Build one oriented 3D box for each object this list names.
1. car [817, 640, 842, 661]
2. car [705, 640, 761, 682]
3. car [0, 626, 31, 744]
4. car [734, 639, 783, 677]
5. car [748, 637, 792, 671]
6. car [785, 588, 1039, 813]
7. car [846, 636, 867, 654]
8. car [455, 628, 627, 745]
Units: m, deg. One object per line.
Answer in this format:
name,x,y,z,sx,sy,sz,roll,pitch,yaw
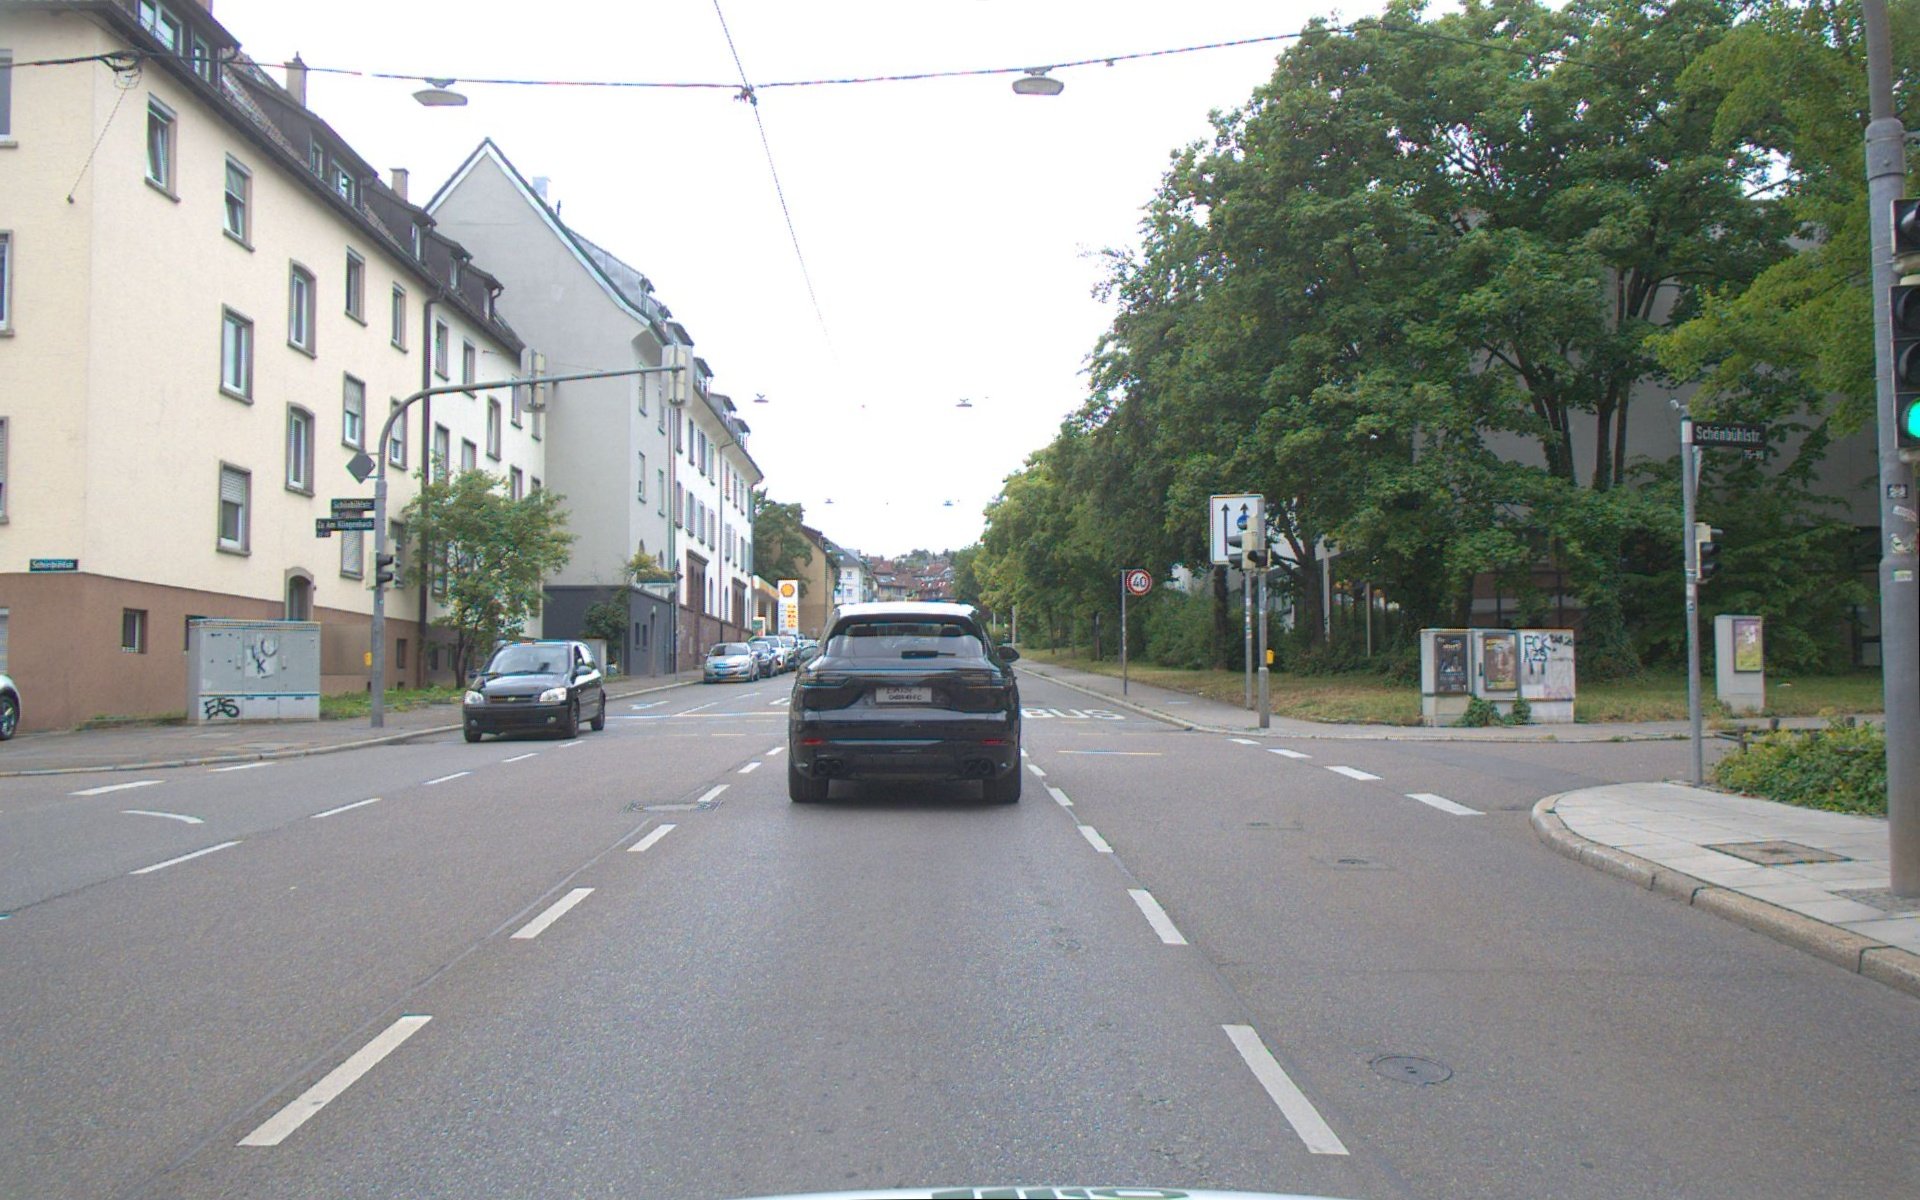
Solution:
car,-9.068,3.508,115.009,1.636,1.386,3.998,0,0,-3
car,-8.010,2.136,58.602,1.637,1.386,3.997,0,0,-4
car,-14.605,1.264,22.733,1.637,1.691,3.995,-3,0,-5
car,-8.013,2.302,66.170,1.636,1.386,3.998,0,0,-3
car,-8.302,2.350,72.482,1.636,1.386,3.998,0,0,-3
car,-0.404,0.801,14.953,1.953,1.726,3.999,1,0,-1
car,-8.832,3.838,141.301,1.636,1.386,3.998,0,0,-3
car,-6.382,1.273,25.559,1.630,1.545,3.739,-3,-1,0
